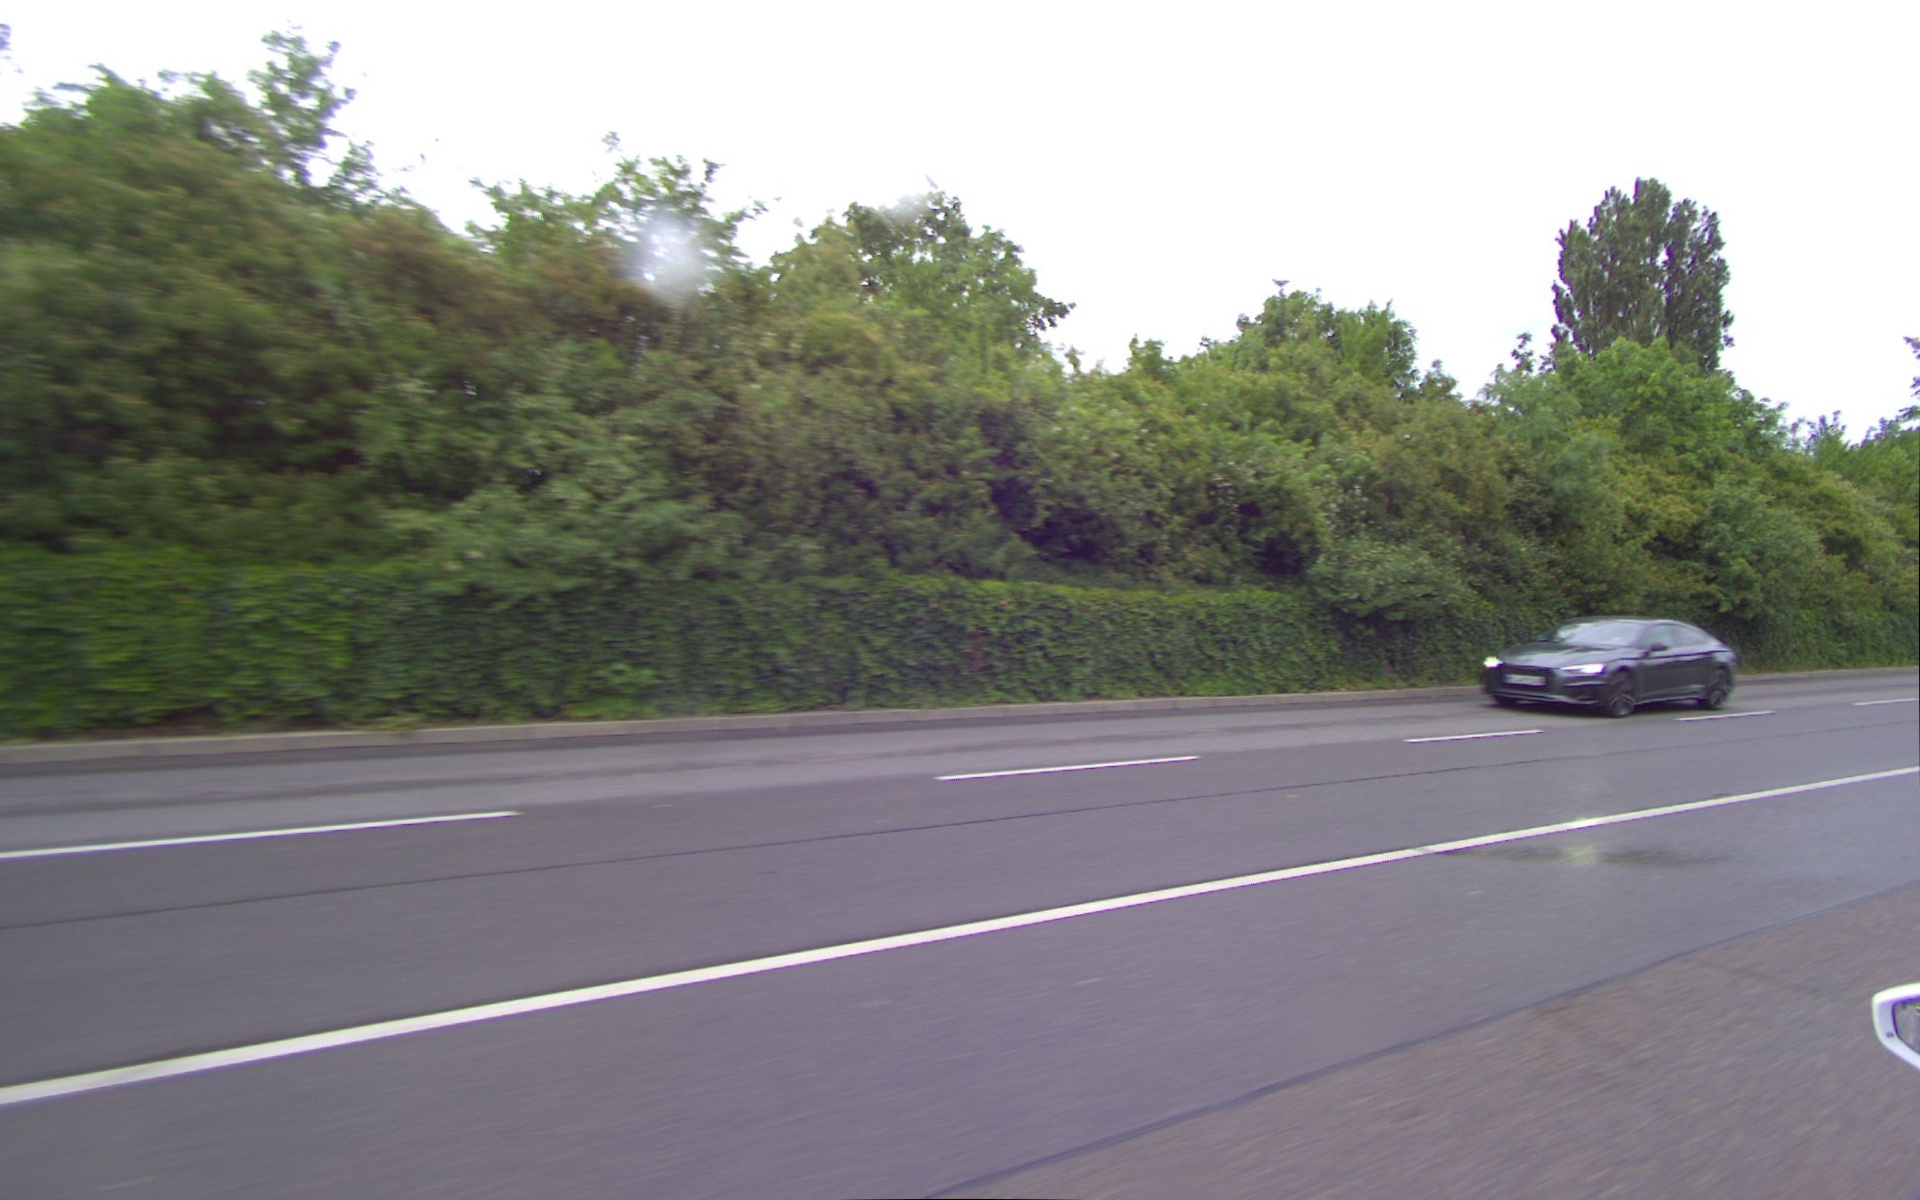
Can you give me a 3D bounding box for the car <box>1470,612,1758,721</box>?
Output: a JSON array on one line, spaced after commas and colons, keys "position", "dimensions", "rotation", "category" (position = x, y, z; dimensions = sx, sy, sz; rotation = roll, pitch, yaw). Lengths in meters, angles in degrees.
[{"position": [10.166, 0.928, 15.522], "dimensions": [4.781, 1.399, 1.751], "rotation": [0, 1, -30], "category": "car"}]
